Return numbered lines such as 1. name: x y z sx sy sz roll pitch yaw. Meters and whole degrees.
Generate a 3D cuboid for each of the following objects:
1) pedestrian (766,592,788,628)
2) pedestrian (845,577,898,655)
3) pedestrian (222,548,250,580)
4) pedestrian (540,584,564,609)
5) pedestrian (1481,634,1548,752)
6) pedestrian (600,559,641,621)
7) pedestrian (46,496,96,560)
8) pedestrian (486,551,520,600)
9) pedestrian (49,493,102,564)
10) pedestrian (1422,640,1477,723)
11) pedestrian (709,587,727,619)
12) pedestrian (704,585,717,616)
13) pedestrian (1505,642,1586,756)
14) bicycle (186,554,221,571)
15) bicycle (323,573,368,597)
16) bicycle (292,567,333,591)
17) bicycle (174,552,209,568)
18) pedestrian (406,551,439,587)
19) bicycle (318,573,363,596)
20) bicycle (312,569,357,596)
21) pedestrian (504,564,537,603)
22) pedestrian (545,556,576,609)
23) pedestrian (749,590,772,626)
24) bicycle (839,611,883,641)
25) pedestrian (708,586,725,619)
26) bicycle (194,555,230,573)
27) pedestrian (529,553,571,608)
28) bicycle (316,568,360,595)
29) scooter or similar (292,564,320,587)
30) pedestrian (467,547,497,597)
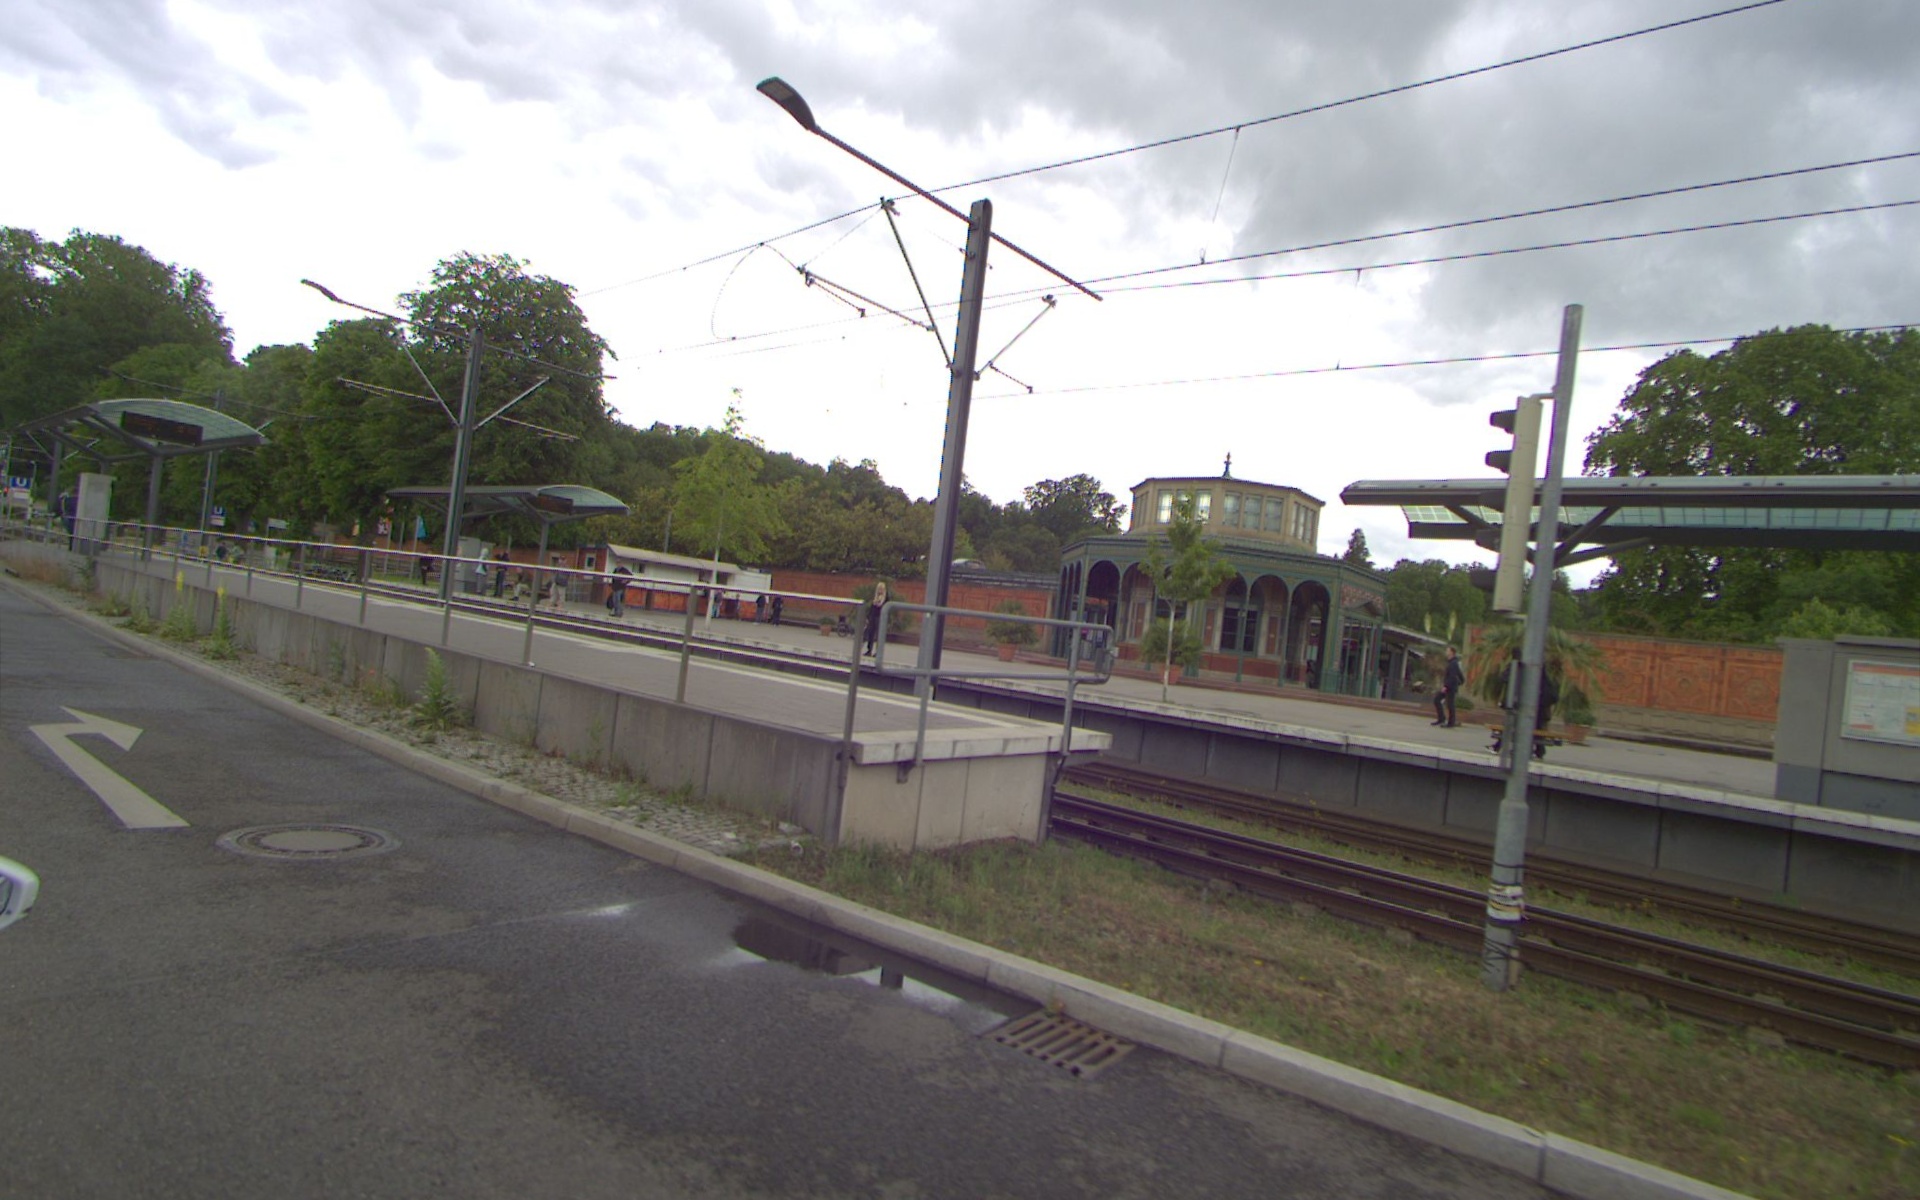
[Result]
1. pedestrian: -8.746 0.490 48.164 0.612 1.600 0.586 6 -3 28
2. pedestrian: -2.092 0.374 23.694 0.854 1.705 0.632 5 -4 41
3. pedestrian: -39.832 -1.990 55.360 0.764 1.629 0.835 5 0 19
4. pedestrian: -13.749 -0.112 33.865 0.560 0.748 0.420 10 -4 -40
5. pedestrian: 8.327 1.389 15.104 0.484 1.678 0.621 9 -4 -40
6. pedestrian: -10.655 -0.320 31.586 0.937 1.858 0.632 4 -4 43
7. pedestrian: -23.744 -1.928 26.877 0.764 1.571 0.750 7 -2 43
8. pedestrian: -16.648 -0.895 36.636 0.667 1.695 0.674 5 -4 38
9. pedestrian: -23.176 -1.871 26.369 0.721 1.718 0.770 7 -2 43
10. pedestrian: 11.664 1.942 23.969 0.937 1.858 0.549 5 -3 35
11. pedestrian: -11.887 0.153 49.433 0.454 1.503 0.484 4 -4 44
12. pedestrian: -12.560 0.020 50.637 0.312 1.503 0.341 4 -4 44
13. pedestrian: 9.043 1.525 15.537 0.737 1.617 0.764 9 -4 -40
14. bicycle: -54.434 -2.721 72.392 0.523 0.987 1.909 5 -1 41
15. bicycle: -32.494 -0.771 53.233 0.525 0.973 1.873 5 -5 41
16. bicycle: -36.187 -1.151 56.280 0.477 1.044 1.763 5 -5 41
17. bicycle: -56.746 -2.946 74.307 0.523 0.987 1.909 5 -1 41
18. pedestrian: -21.399 -1.236 40.047 0.954 1.338 0.673 5 -4 40
19. bicycle: -33.043 -0.820 53.691 0.525 0.973 1.873 5 -5 41
20. bicycle: -33.695 -0.950 54.186 0.525 1.151 1.873 5 -5 41
21. pedestrian: -14.697 -0.557 33.637 0.667 1.204 0.657 4 -4 42
22. pedestrian: -13.080 -0.563 32.929 0.667 1.637 0.524 4 -4 43
23. pedestrian: -9.513 0.395 48.086 0.611 1.600 0.656 6 -3 27
24. bicycle: -4.324 1.130 43.855 1.683 1.073 0.565 7 -3 10
25. pedestrian: -12.099 0.138 49.947 0.454 1.552 0.484 4 -4 44
26. bicycle: -52.613 -2.536 70.796 0.523 0.987 1.909 5 -1 41
27. pedestrian: -13.844 -0.656 33.976 0.749 1.695 0.862 5 -3 31
28. bicycle: -34.110 -1.000 55.196 0.525 1.151 1.873 5 -5 41
29. scooter or similar: -37.374 -1.389 57.471 1.152 1.151 0.331 9 -3 -25
30. pedestrian: -17.220 -1.008 36.234 0.666 1.695 0.544 5 -3 38
